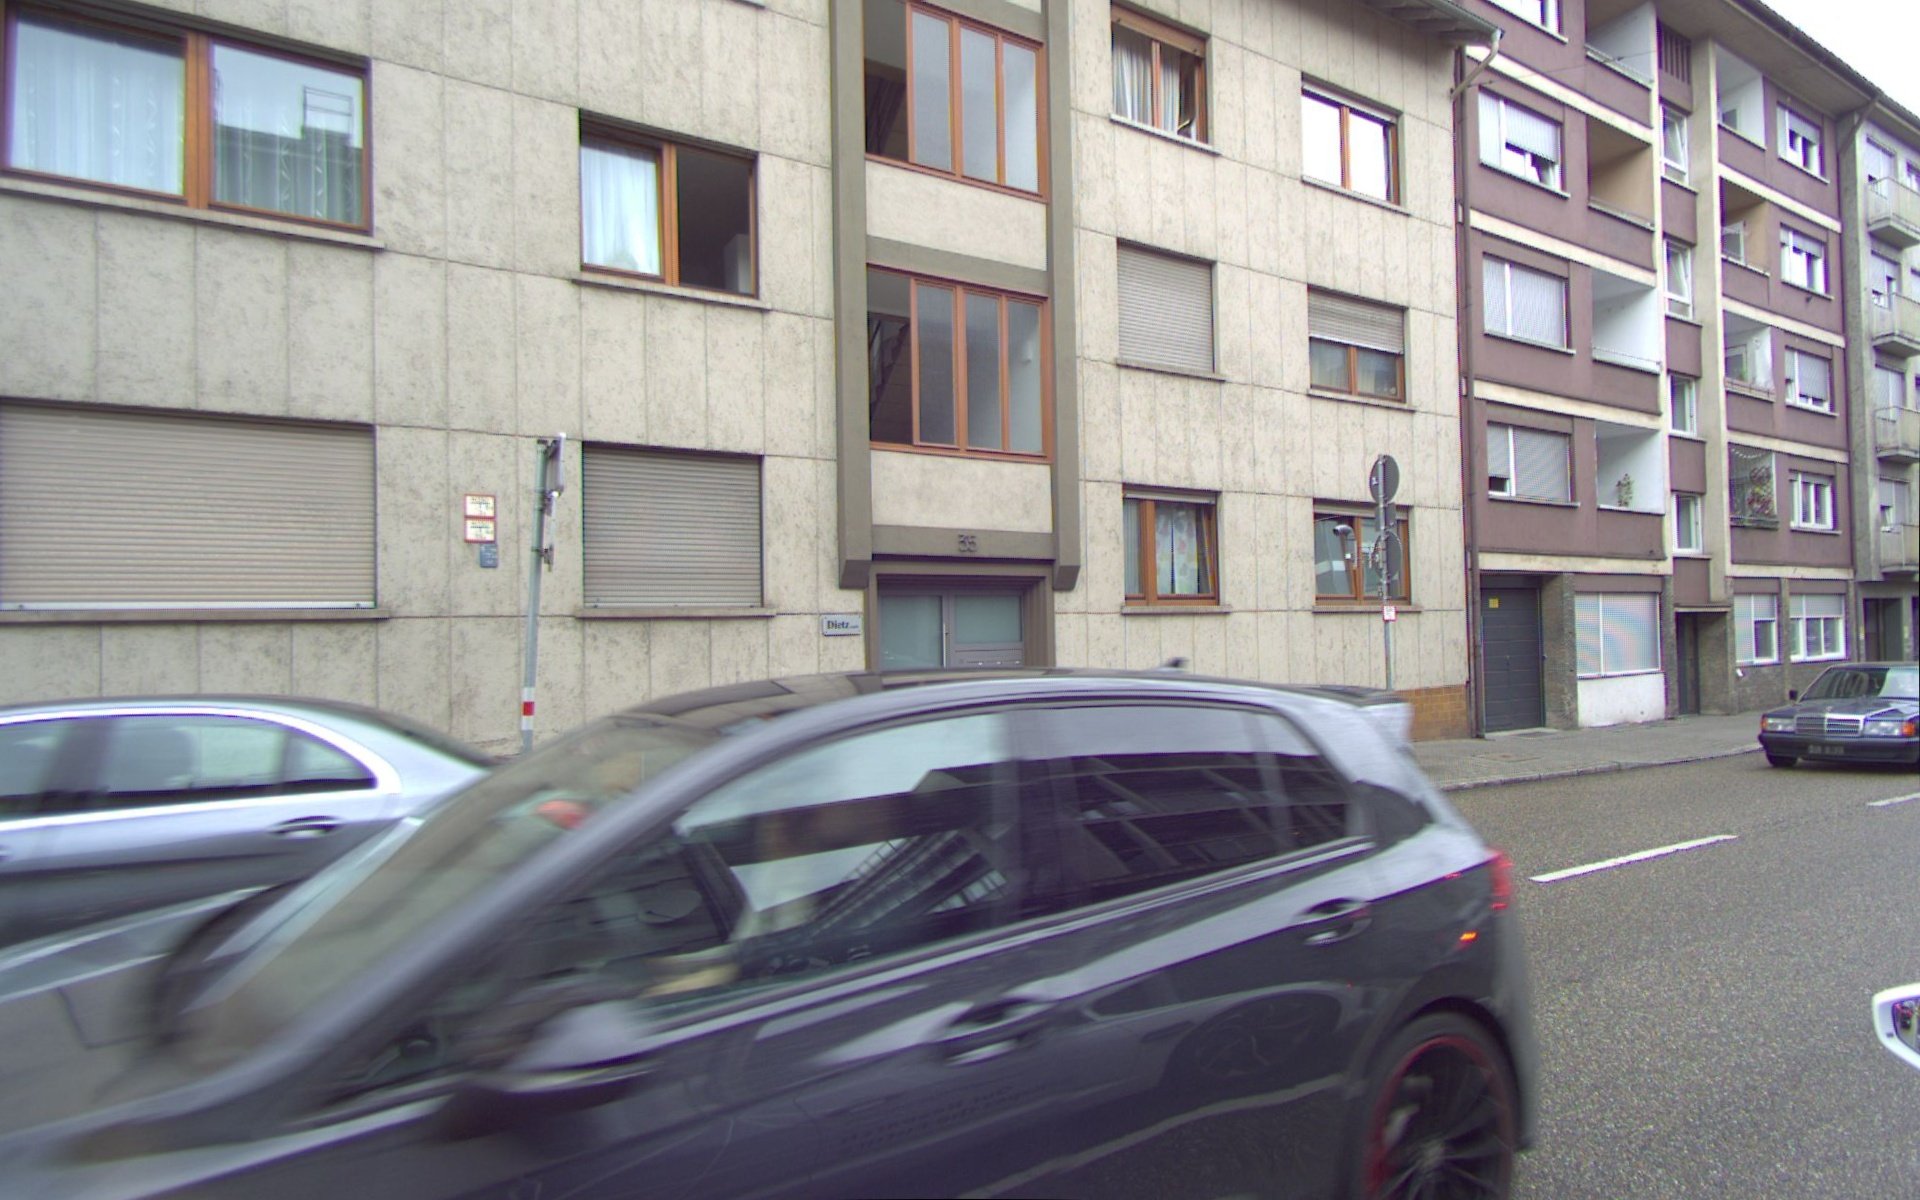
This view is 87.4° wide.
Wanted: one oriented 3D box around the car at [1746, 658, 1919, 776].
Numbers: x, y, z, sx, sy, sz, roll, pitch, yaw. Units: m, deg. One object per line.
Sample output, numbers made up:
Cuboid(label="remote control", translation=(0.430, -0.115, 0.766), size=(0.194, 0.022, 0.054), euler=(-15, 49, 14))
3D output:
Cuboid(label="car", translation=(12.654, 1.495, 13.694), size=(4.313, 1.388, 1.591), euler=(2, -5, -31))

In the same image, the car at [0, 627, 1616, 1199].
Cuboid(label="car", translation=(-0.459, 0.926, 2.345), size=(4.170, 1.601, 1.687), euler=(2, -5, -32))

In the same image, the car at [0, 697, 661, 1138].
Cuboid(label="car", translation=(-3.601, 1.135, 4.055), size=(4.318, 1.388, 1.686), euler=(2, -5, -32))
